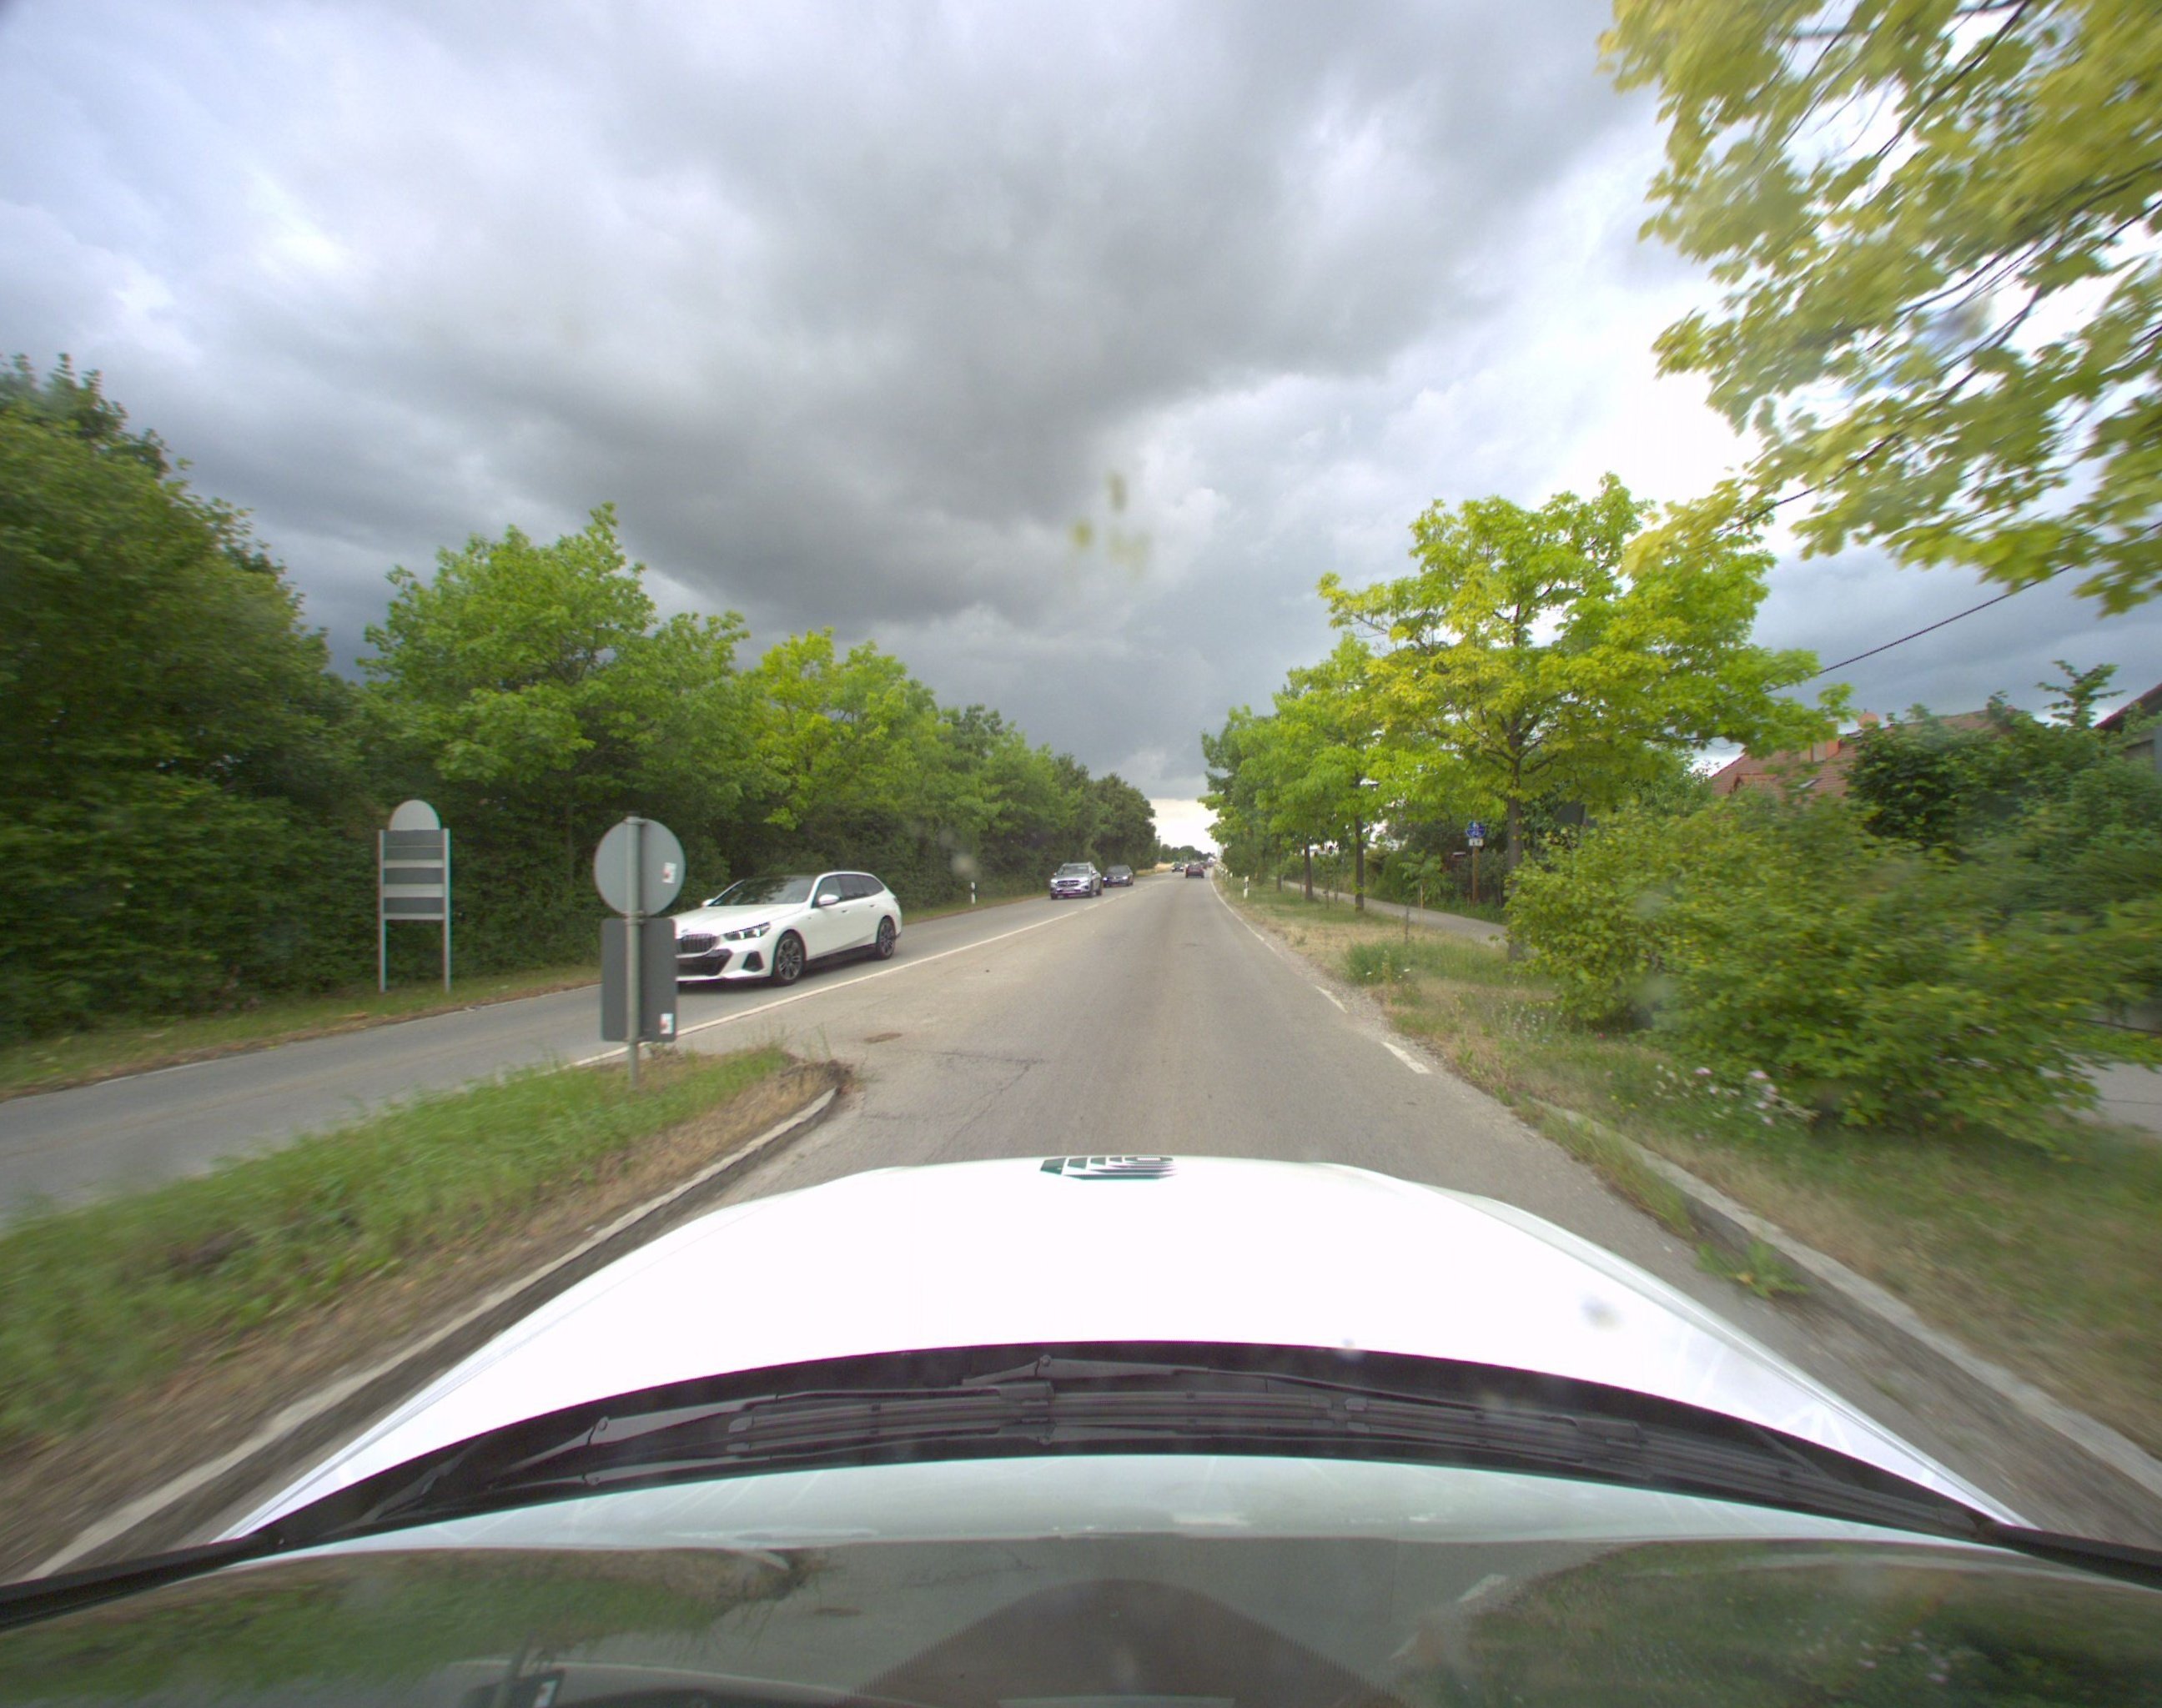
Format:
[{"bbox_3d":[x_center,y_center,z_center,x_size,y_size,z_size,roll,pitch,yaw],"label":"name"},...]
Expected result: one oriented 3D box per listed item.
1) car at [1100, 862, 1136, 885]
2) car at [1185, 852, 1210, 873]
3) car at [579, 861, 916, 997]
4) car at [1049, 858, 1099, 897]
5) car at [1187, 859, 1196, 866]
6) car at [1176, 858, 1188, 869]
[{"bbox_3d":[2.567,1.318,55.478,1.983,1.419,4.486,-3,-1,7],"label":"car"},{"bbox_3d":[11.709,0.871,82.026,2.359,1.880,4.486,-3,-1,7],"label":"car"},{"bbox_3d":[-4.521,0.934,12.161,2.199,1.454,4.958,-3,0,11],"label":"car"},{"bbox_3d":[-0.267,1.047,37.911,1.985,1.601,4.667,-3,-1,3],"label":"car"},{"bbox_3d":[28.626,2.123,210.830,1.982,1.684,4.822,-2,0,9],"label":"car"},{"bbox_3d":[16.661,1.580,134.649,1.930,1.586,4.565,-3,-1,7],"label":"car"}]
